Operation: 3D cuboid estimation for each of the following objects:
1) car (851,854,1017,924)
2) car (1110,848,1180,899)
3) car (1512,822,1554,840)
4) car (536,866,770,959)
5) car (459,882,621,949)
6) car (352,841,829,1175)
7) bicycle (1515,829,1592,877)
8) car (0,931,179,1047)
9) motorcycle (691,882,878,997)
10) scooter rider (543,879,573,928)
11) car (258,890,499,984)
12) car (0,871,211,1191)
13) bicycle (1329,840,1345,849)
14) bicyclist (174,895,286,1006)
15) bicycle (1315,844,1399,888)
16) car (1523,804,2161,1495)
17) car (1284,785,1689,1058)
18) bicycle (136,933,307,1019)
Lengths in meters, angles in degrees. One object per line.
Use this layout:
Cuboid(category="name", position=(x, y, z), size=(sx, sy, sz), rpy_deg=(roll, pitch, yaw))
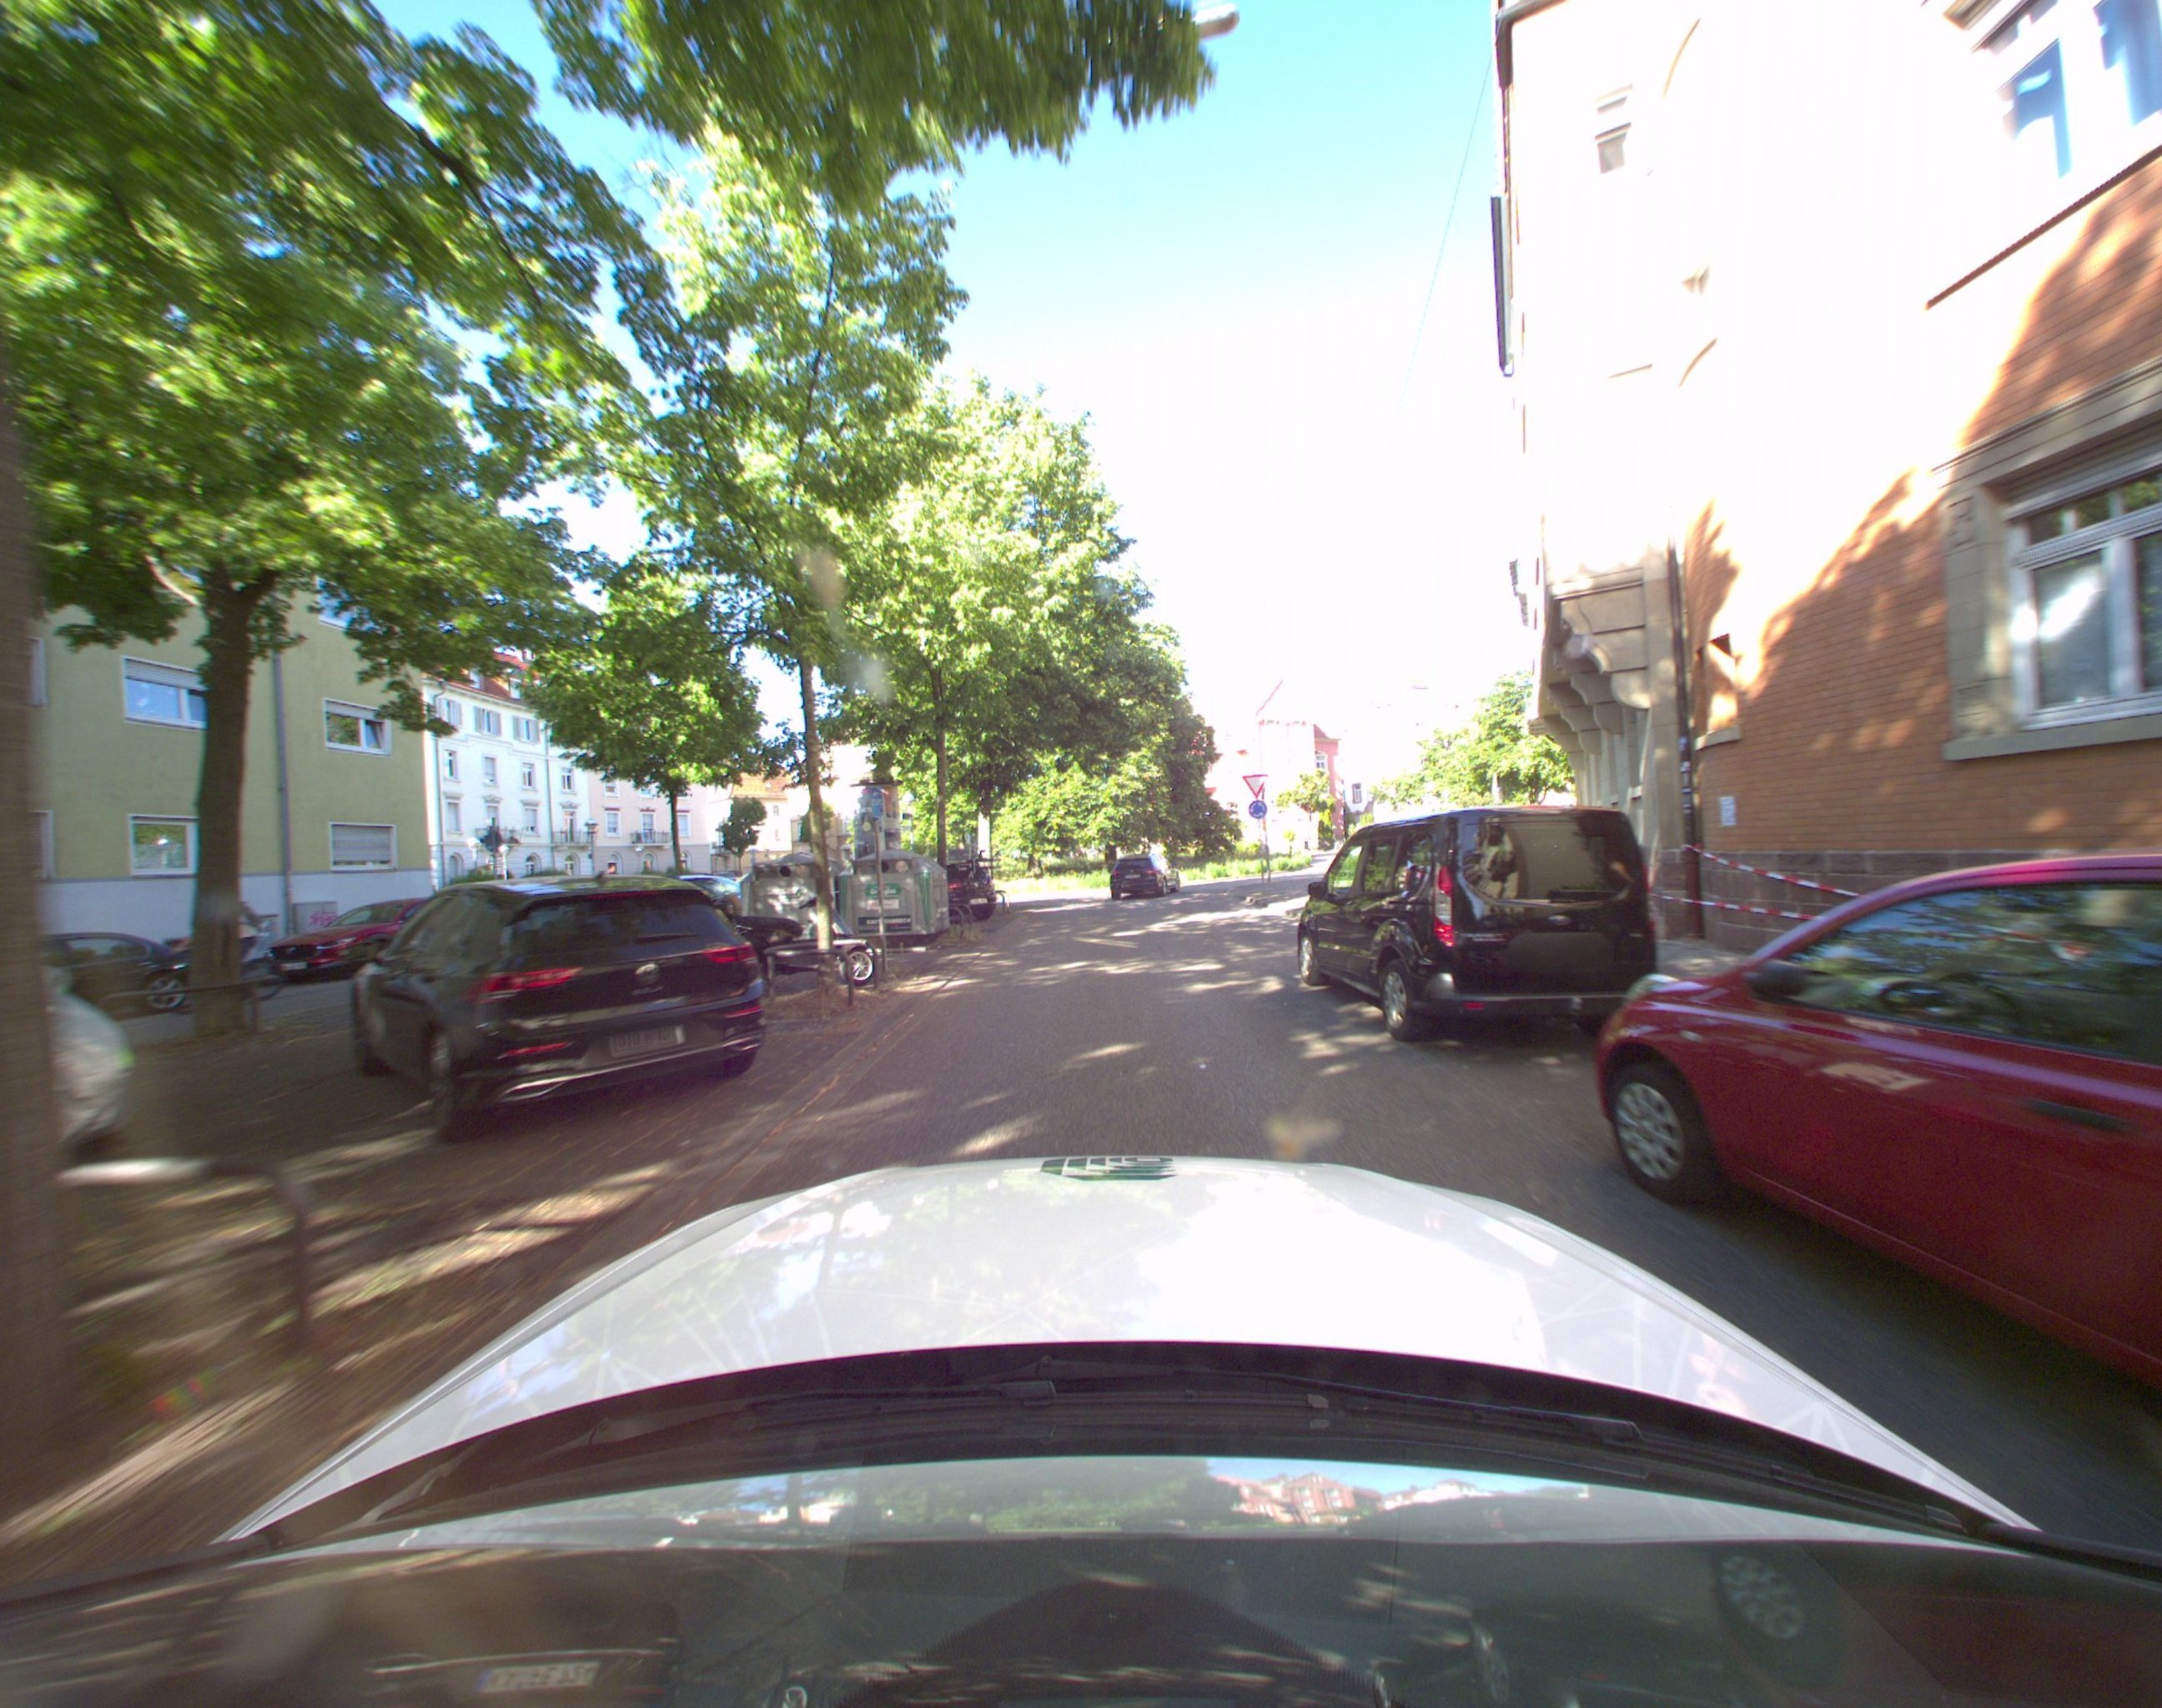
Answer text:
Cuboid(category="car", position=(-3.651, 0.843, 19.811), size=(4.089, 1.481, 1.787), rpy_deg=(-3, -1, 41))
Cuboid(category="car", position=(2.294, 0.618, 28.192), size=(1.702, 1.483, 4.160), rpy_deg=(-4, 0, 14))
Cuboid(category="car", position=(42.138, -2.176, 75.948), size=(3.463, 1.436, 1.647), rpy_deg=(-4, 0, -25))
Cuboid(category="car", position=(-8.288, 1.120, 15.864), size=(3.761, 1.466, 1.651), rpy_deg=(-4, 0, 13))
Cuboid(category="car", position=(-14.999, 1.653, 22.879), size=(1.772, 1.525, 4.001), rpy_deg=(-2, 0, 1))
Cuboid(category="car", position=(-3.802, 0.811, 5.965), size=(4.101, 1.554, 1.844), rpy_deg=(-3, 0, 42))
Cuboid(category="bicycle", position=(11.319, -0.024, 19.540), size=(1.544, 1.061, 0.273), rpy_deg=(-3, 0, 27))
Cuboid(category="car", position=(-15.110, 1.955, 11.021), size=(1.580, 1.321, 3.642), rpy_deg=(-5, 0, 1))
Cuboid(category="motorcycle", position=(-3.449, 0.987, 9.552), size=(1.932, 1.171, 0.518), rpy_deg=(-4, 0, 0))
Cuboid(category="scooter rider", position=(-17.078, 1.611, 26.613), size=(0.518, 1.529, 0.611), rpy_deg=(-4, 0, 39))
Cuboid(category="car", position=(-14.956, 1.683, 17.693), size=(1.524, 1.526, 4.165), rpy_deg=(-3, 0, 0))
Cuboid(category="car", position=(-6.959, 0.995, 4.375), size=(4.051, 1.466, 1.877), rpy_deg=(-5, -3, 24))
Cuboid(category="bicycle", position=(25.120, -0.939, 79.898), size=(0.478, 0.800, 2.020), rpy_deg=(-3, 0, -12))
Cuboid(category="bicyclist", position=(-13.512, 1.500, 12.955), size=(0.712, 1.621, 0.929), rpy_deg=(-3, 0, 2))
Cuboid(category="bicycle", position=(8.042, 0.363, 23.772), size=(2.201, 1.159, 0.390), rpy_deg=(-3, 0, 27))
Cuboid(category="car", position=(3.235, 0.654, 2.516), size=(1.639, 1.537, 4.001), rpy_deg=(0, 0, 1))
Cuboid(category="car", position=(3.328, 0.458, 7.748), size=(1.795, 1.871, 4.274), rpy_deg=(0, 0, 1))
Cuboid(category="bicycle", position=(-13.460, 1.871, 12.846), size=(0.598, 1.034, 1.914), rpy_deg=(-3, 0, 1))
